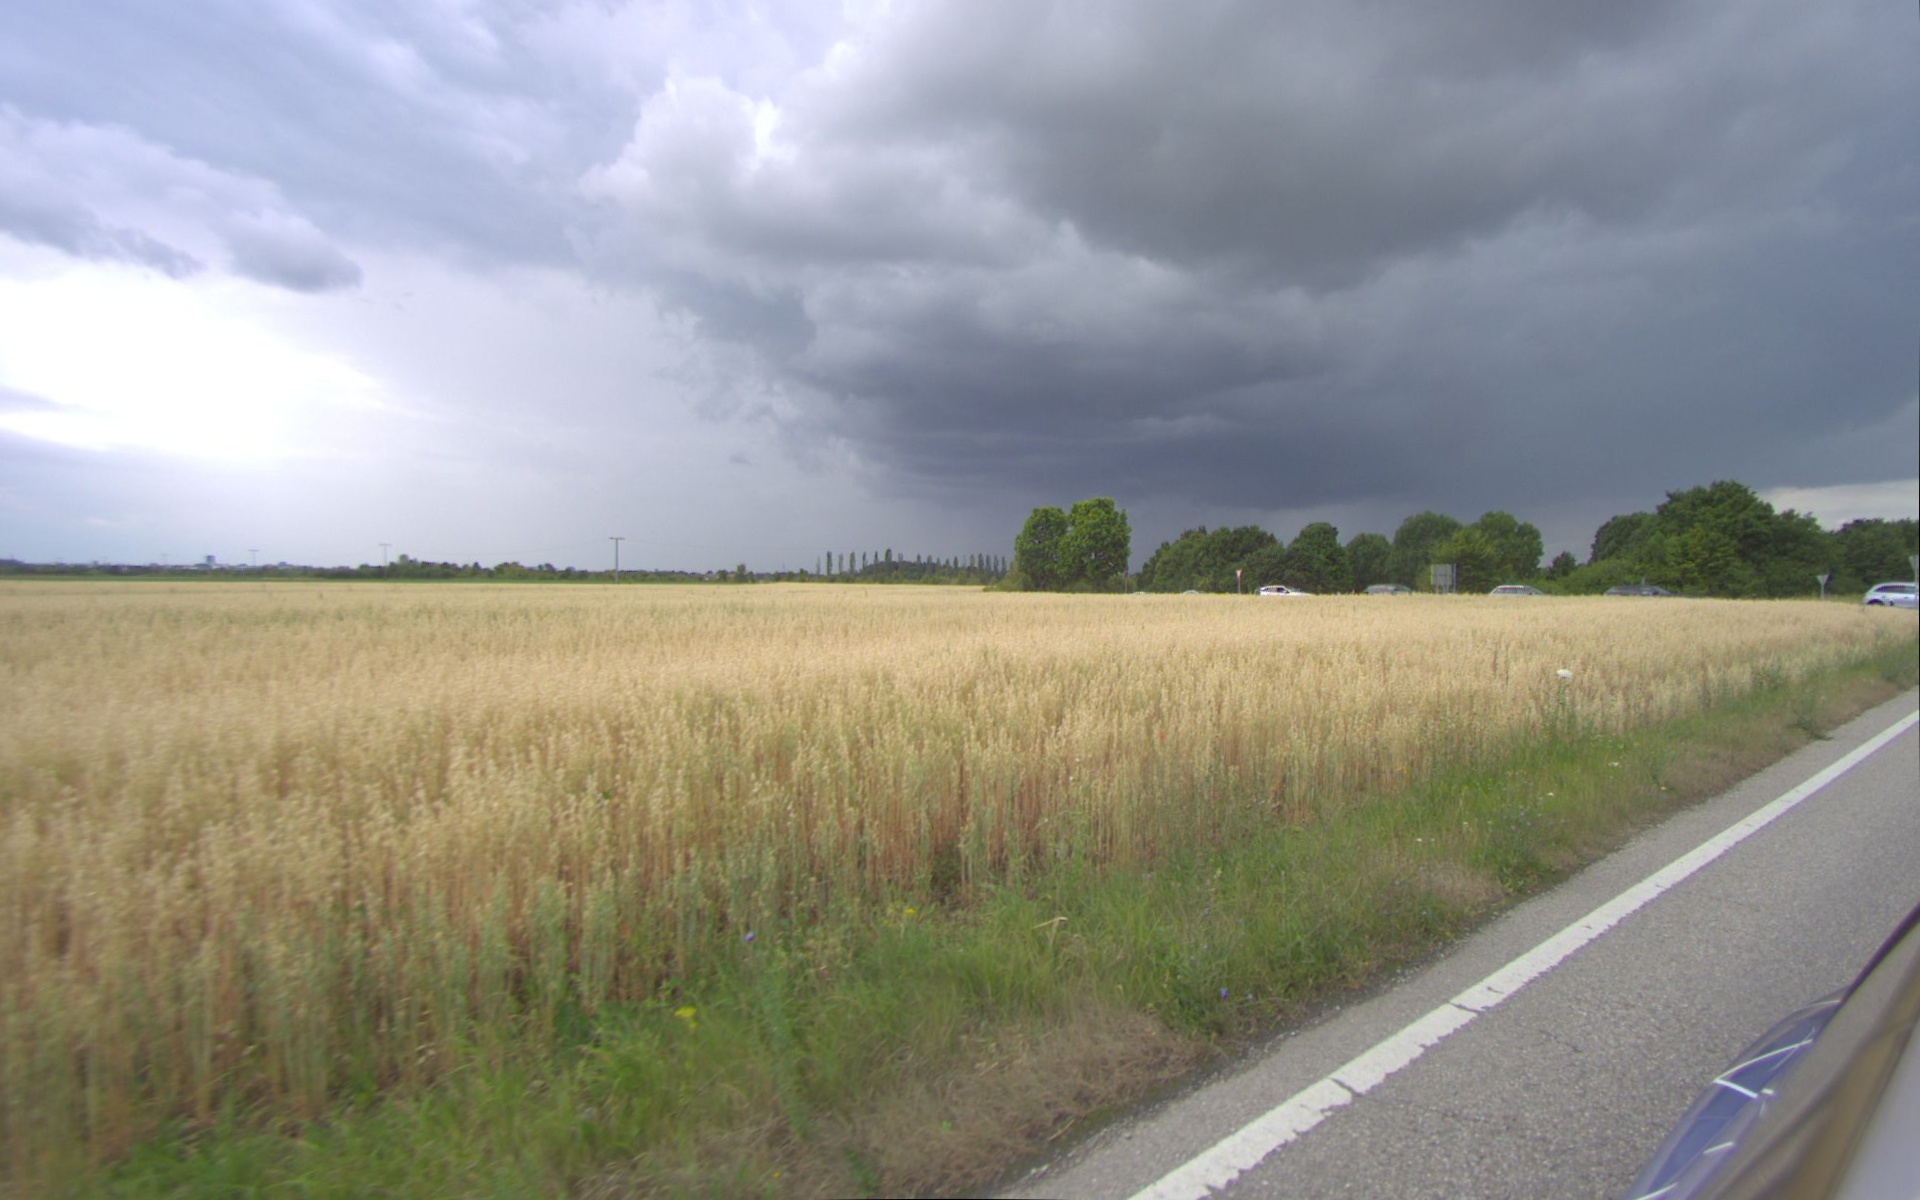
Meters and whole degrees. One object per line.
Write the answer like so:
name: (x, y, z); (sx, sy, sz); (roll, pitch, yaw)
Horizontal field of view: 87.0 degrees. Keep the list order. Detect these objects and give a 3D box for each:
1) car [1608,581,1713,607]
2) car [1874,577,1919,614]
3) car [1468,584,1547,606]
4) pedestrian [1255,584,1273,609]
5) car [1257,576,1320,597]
car: (40.544, -0.363, 58.679); (1.689, 1.370, 4.698); (-3, 3, -33)
car: (44.822, -0.200, 46.184); (1.957, 1.605, 4.402); (-2, 2, -8)
car: (35.641, -0.362, 65.948); (1.689, 1.370, 4.214); (0, 1, -35)
pedestrian: (20.136, -0.269, 66.967); (0.940, 1.631, 0.763); (1, 0, 37)
car: (25.661, -1.083, 79.236); (1.690, 1.512, 4.639); (-3, 3, -35)
